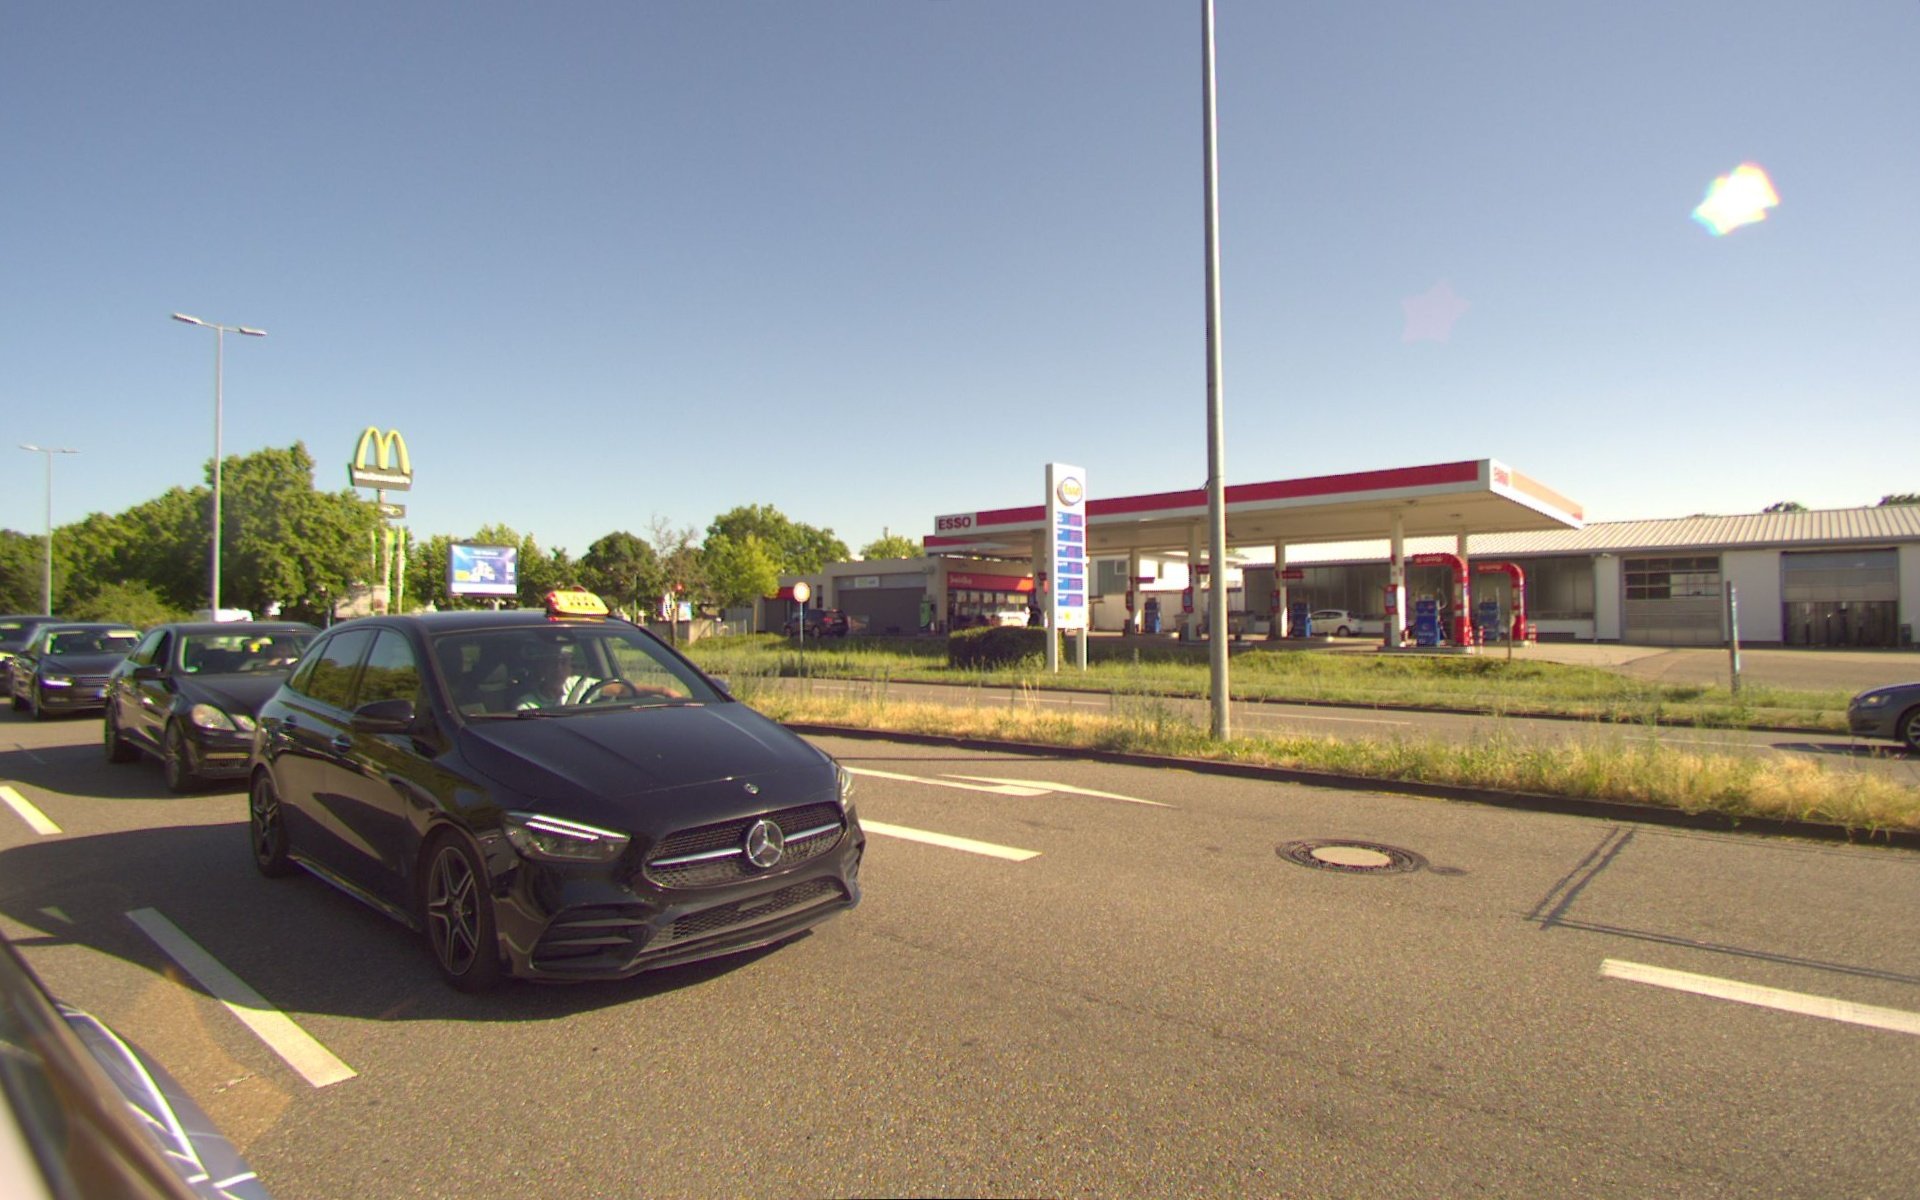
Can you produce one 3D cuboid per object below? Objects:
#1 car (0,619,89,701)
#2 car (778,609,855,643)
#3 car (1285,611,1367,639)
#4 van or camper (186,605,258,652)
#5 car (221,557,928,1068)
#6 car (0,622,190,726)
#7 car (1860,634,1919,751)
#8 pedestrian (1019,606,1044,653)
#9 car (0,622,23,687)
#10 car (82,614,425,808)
[{"bbox_3d":[-20.192,1.229,21.588,4.401,1.600,1.838,-2,-2,41],"label":"car"},{"bbox_3d":[-7.822,1.394,55.012,4.117,1.783,1.972,-2,-1,43],"label":"car"},{"bbox_3d":[19.833,1.350,54.870,3.844,1.450,1.730,-2,-2,39],"label":"car"},{"bbox_3d":[-43.335,1.658,59.337,6.754,2.592,2.154,-1,-2,43],"label":"van or camper"},{"bbox_3d":[-2.291,0.735,5.335,4.187,1.638,1.780,-2,-2,42],"label":"car"},{"bbox_3d":[-14.434,1.128,16.768,4.401,1.492,1.838,-2,-2,41],"label":"car"},{"bbox_3d":[13.614,1.156,12.217,4.050,1.440,1.799,-2,-4,43],"label":"car"},{"bbox_3d":[3.152,1.308,44.786,0.840,2.029,0.694,-2,-2,41],"label":"pedestrian"},{"bbox_3d":[-25.764,1.399,26.129,4.401,1.600,1.838,-2,-2,41],"label":"car"},{"bbox_3d":[-7.245,0.937,10.203,4.401,1.535,1.838,-2,-2,41],"label":"car"}]
